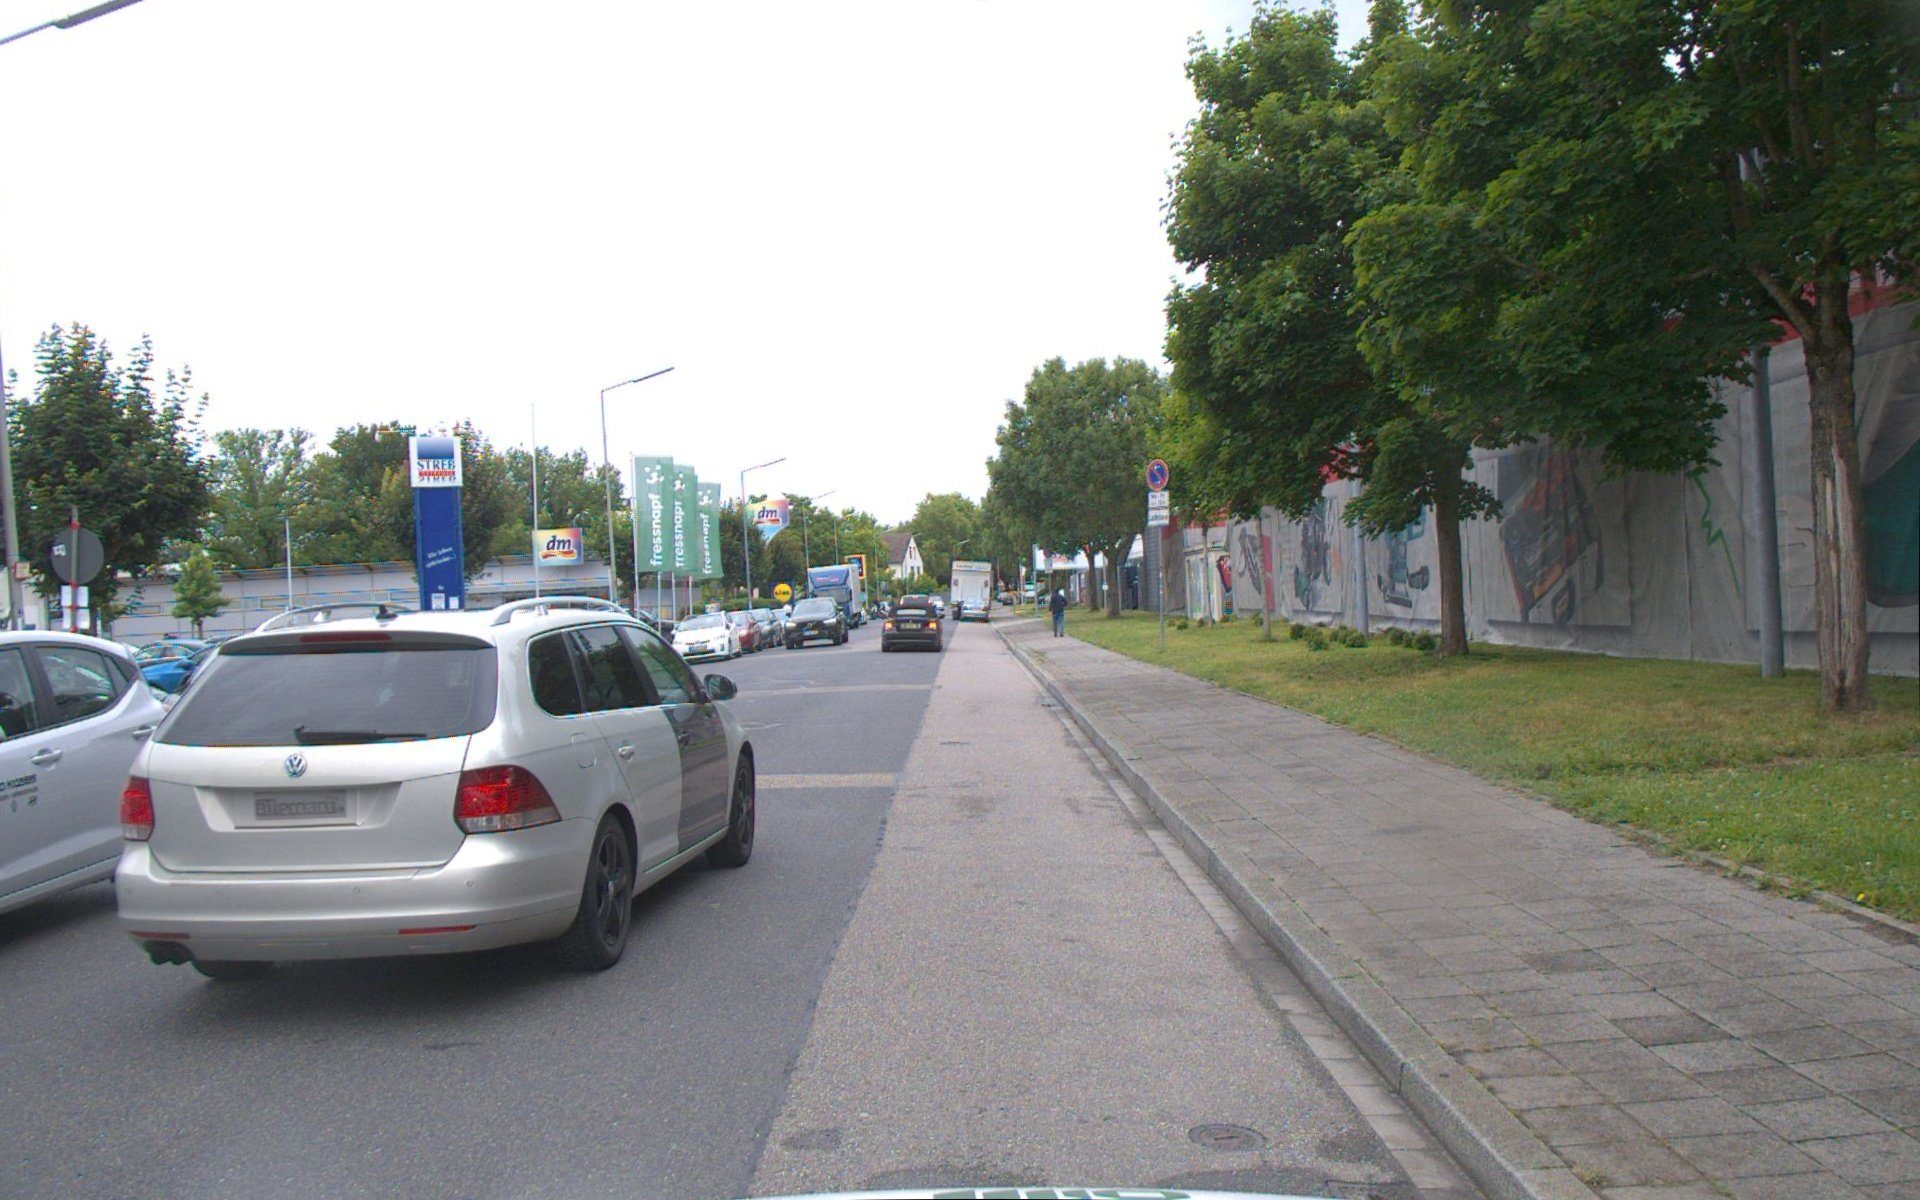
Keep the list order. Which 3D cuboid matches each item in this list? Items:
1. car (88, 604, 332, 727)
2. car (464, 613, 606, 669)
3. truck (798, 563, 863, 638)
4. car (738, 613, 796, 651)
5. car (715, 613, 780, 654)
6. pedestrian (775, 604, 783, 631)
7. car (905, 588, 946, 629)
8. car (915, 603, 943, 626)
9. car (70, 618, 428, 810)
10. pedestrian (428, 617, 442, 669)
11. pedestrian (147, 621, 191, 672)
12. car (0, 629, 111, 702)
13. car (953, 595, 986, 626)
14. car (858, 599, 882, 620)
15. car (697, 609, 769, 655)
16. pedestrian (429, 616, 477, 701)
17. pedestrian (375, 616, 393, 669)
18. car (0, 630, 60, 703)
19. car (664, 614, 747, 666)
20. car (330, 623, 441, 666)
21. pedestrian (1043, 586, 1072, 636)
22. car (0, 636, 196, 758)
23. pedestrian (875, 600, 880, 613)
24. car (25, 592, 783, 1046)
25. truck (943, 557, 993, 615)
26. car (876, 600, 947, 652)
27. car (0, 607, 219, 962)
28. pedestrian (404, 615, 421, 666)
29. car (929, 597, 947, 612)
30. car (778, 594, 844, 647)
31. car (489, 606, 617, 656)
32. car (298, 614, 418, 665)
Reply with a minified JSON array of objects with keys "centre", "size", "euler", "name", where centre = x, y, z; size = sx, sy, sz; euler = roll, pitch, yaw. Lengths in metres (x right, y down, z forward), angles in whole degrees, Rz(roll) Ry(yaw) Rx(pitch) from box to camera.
[{"centre":[-14.500,1.230,32.150],"size":[3.855,2.048,1.758],"euler":[-4,0,-7],"name":"car"},{"centre":[-13.648,1.289,53.276],"size":[4.124,1.488,1.950],"euler":[-4,0,-7],"name":"car"},{"centre":[-7.520,-0.006,96.709],"size":[2.913,4.024,6.405],"euler":[-4,0,1],"name":"truck"},{"centre":[-8.003,1.300,69.016],"size":[1.859,1.391,4.000],"euler":[-3,0,0],"name":"car"},{"centre":[-8.087,1.250,63.138],"size":[1.859,1.391,4.000],"euler":[-3,0,0],"name":"car"},{"centre":[-10.471,1.015,95.714],"size":[0.394,1.558,0.485],"euler":[-3,0,-6],"name":"pedestrian"},{"centre":[-1.538,0.375,72.253],"size":[1.647,1.660,3.757],"euler":[-3,0,-2],"name":"car"},{"centre":[-2.203,0.993,117.867],"size":[1.847,1.558,4.254],"euler":[-1,0,1],"name":"car"},{"centre":[-7.510,1.115,18.034],"size":[1.908,1.552,4.401],"euler":[-7,0,-1],"name":"car"},{"centre":[-16.528,1.346,52.104],"size":[0.324,1.597,0.502],"euler":[-2,0,-11],"name":"pedestrian"},{"centre":[-34.003,2.000,71.139],"size":[1.375,2.048,1.193],"euler":[-3,0,-40],"name":"pedestrian"},{"centre":[-24.525,1.739,42.946],"size":[3.906,1.698,1.876],"euler":[-3,0,0],"name":"car"},{"centre":[0.562,0.655,101.838],"size":[1.953,1.837,3.999],"euler":[-2,-1,-1],"name":"car"},{"centre":[-7.095,0.746,130.395],"size":[1.671,1.573,3.620],"euler":[-2,-1,-1],"name":"car"},{"centre":[-7.879,1.087,57.698],"size":[1.859,1.391,4.000],"euler":[-3,0,0],"name":"car"},{"centre":[-10.669,1.223,34.806],"size":[0.760,1.745,0.696],"euler":[-2,0,-4],"name":"pedestrian"},{"centre":[-18.374,1.354,52.755],"size":[0.448,1.670,0.372],"euler":[-3,0,-17],"name":"pedestrian"},{"centre":[-24.557,1.718,40.518],"size":[3.906,1.698,1.876],"euler":[-3,0,0],"name":"car"},{"centre":[-7.807,1.192,51.051],"size":[1.859,1.391,4.000],"euler":[-4,0,0],"name":"car"},{"centre":[-23.823,1.840,68.633],"size":[3.905,1.518,1.786],"euler":[-3,0,1],"name":"car"},{"centre":[3.279,0.374,55.714],"size":[0.900,1.663,0.853],"euler":[-2,-1,2],"name":"pedestrian"},{"centre":[-13.846,1.450,24.828],"size":[3.794,1.649,1.928],"euler":[-2,0,0],"name":"car"},{"centre":[-6.432,0.504,128.923],"size":[0.244,0.993,0.343],"euler":[-2,-1,12],"name":"pedestrian"},{"centre":[-2.120,0.737,7.713],"size":[1.716,1.476,4.300],"euler":[-2,0,5],"name":"car"},{"centre":[0.490,-0.875,111.090],"size":[3.071,3.647,10.048],"euler":[-2,-1,-1],"name":"truck"},{"centre":[-1.386,0.738,48.453],"size":[1.709,1.382,4.139],"euler":[-3,-1,3],"name":"car"},{"centre":[-5.029,0.881,7.597],"size":[1.567,1.554,3.527],"euler":[-5,0,0],"name":"car"},{"centre":[-17.368,1.272,52.451],"size":[0.352,1.597,0.503],"euler":[-3,0,-10],"name":"pedestrian"},{"centre":[-2.341,0.504,176.802],"size":[1.847,1.558,4.254],"euler":[-1,0,1],"name":"car"},{"centre":[-5.141,0.715,57.512],"size":[1.953,1.713,3.999],"euler":[-2,-1,-1],"name":"car"},{"centre":[-14.272,1.084,58.210],"size":[4.055,1.488,1.896],"euler":[-3,0,-5],"name":"car"},{"centre":[-23.621,1.533,65.003],"size":[3.906,1.698,1.876],"euler":[-3,0,0],"name":"car"}]
